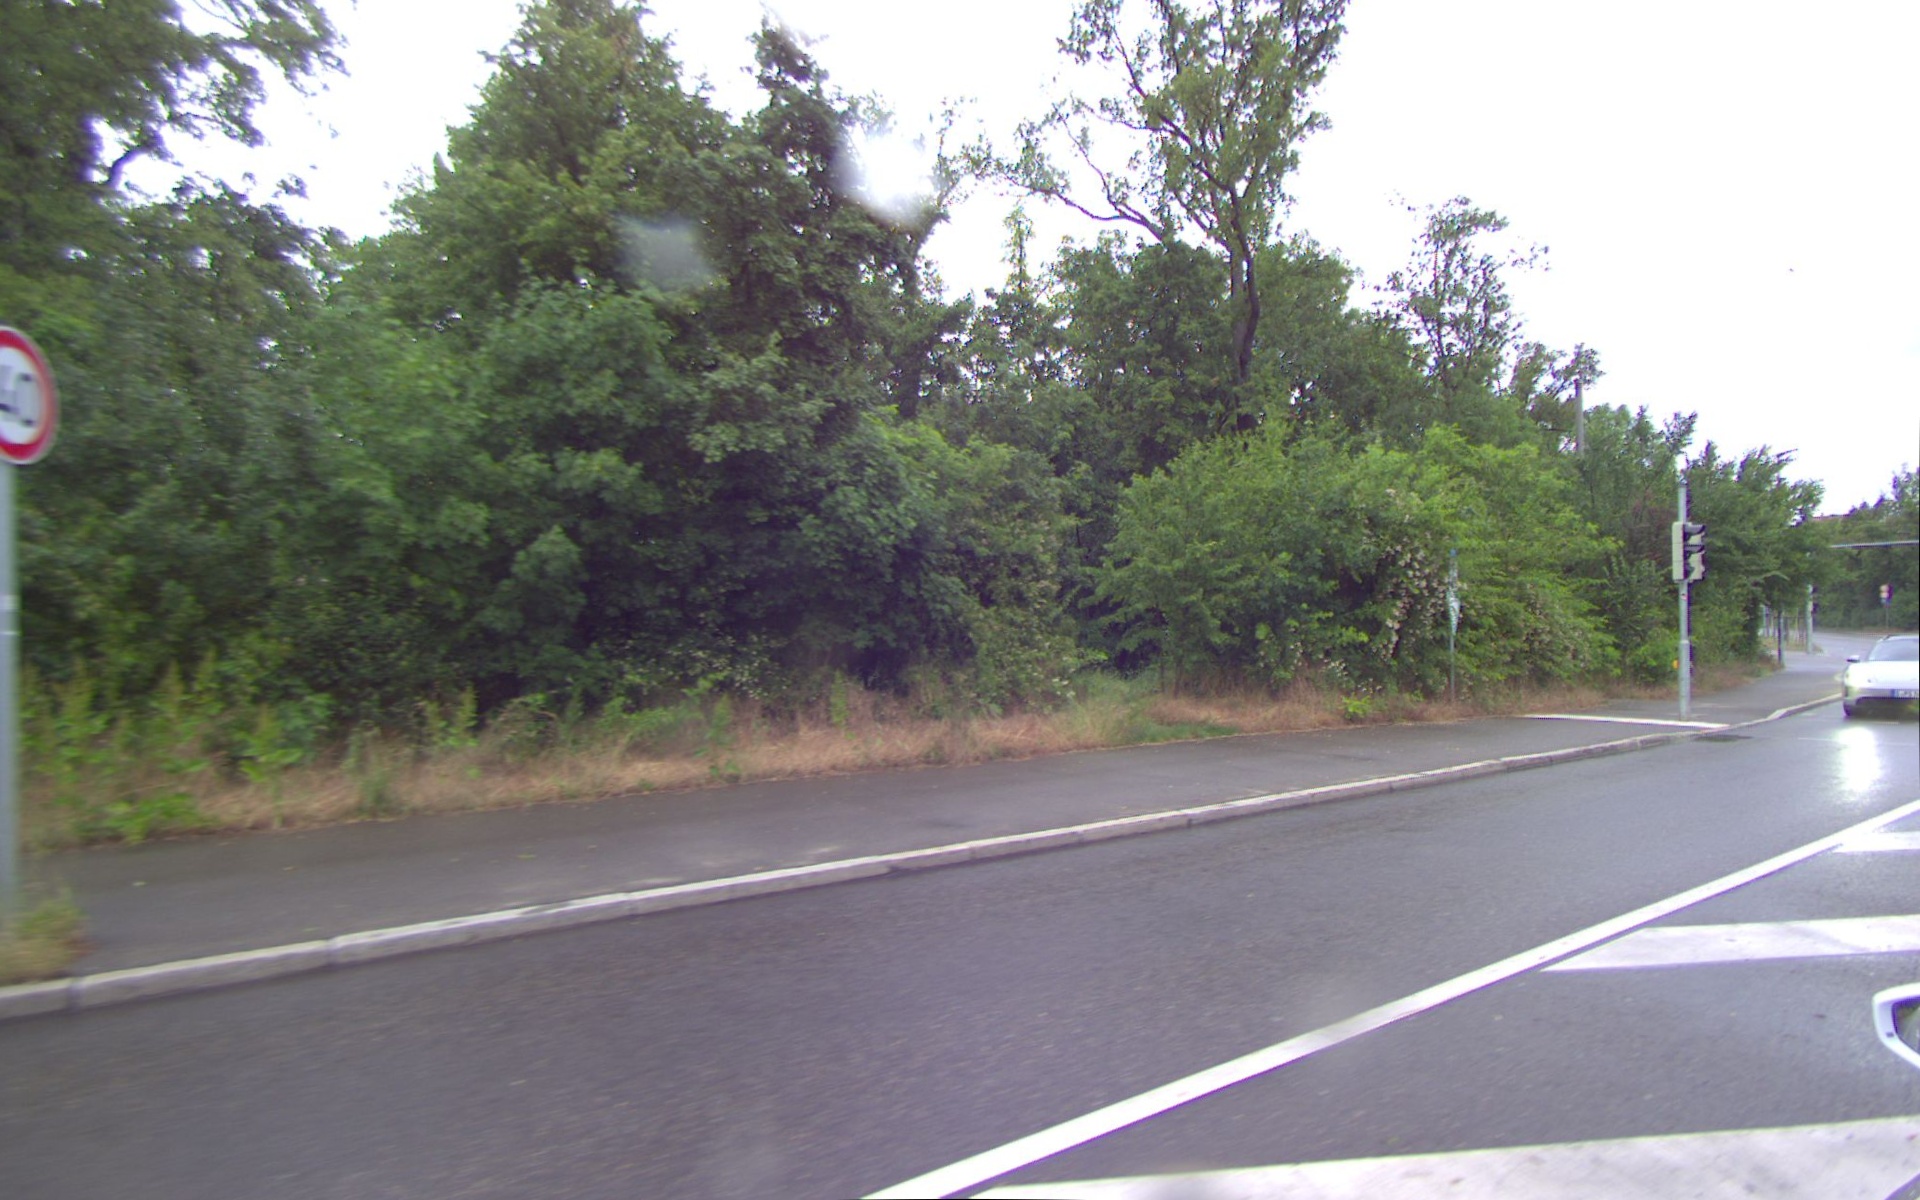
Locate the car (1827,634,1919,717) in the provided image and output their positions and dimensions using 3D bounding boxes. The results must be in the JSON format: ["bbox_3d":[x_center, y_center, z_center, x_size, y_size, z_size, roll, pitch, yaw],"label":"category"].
[{"bbox_3d":[17.181,1.279,17.916,4.325,1.328,1.977,1,-4,-41],"label":"car"}]
